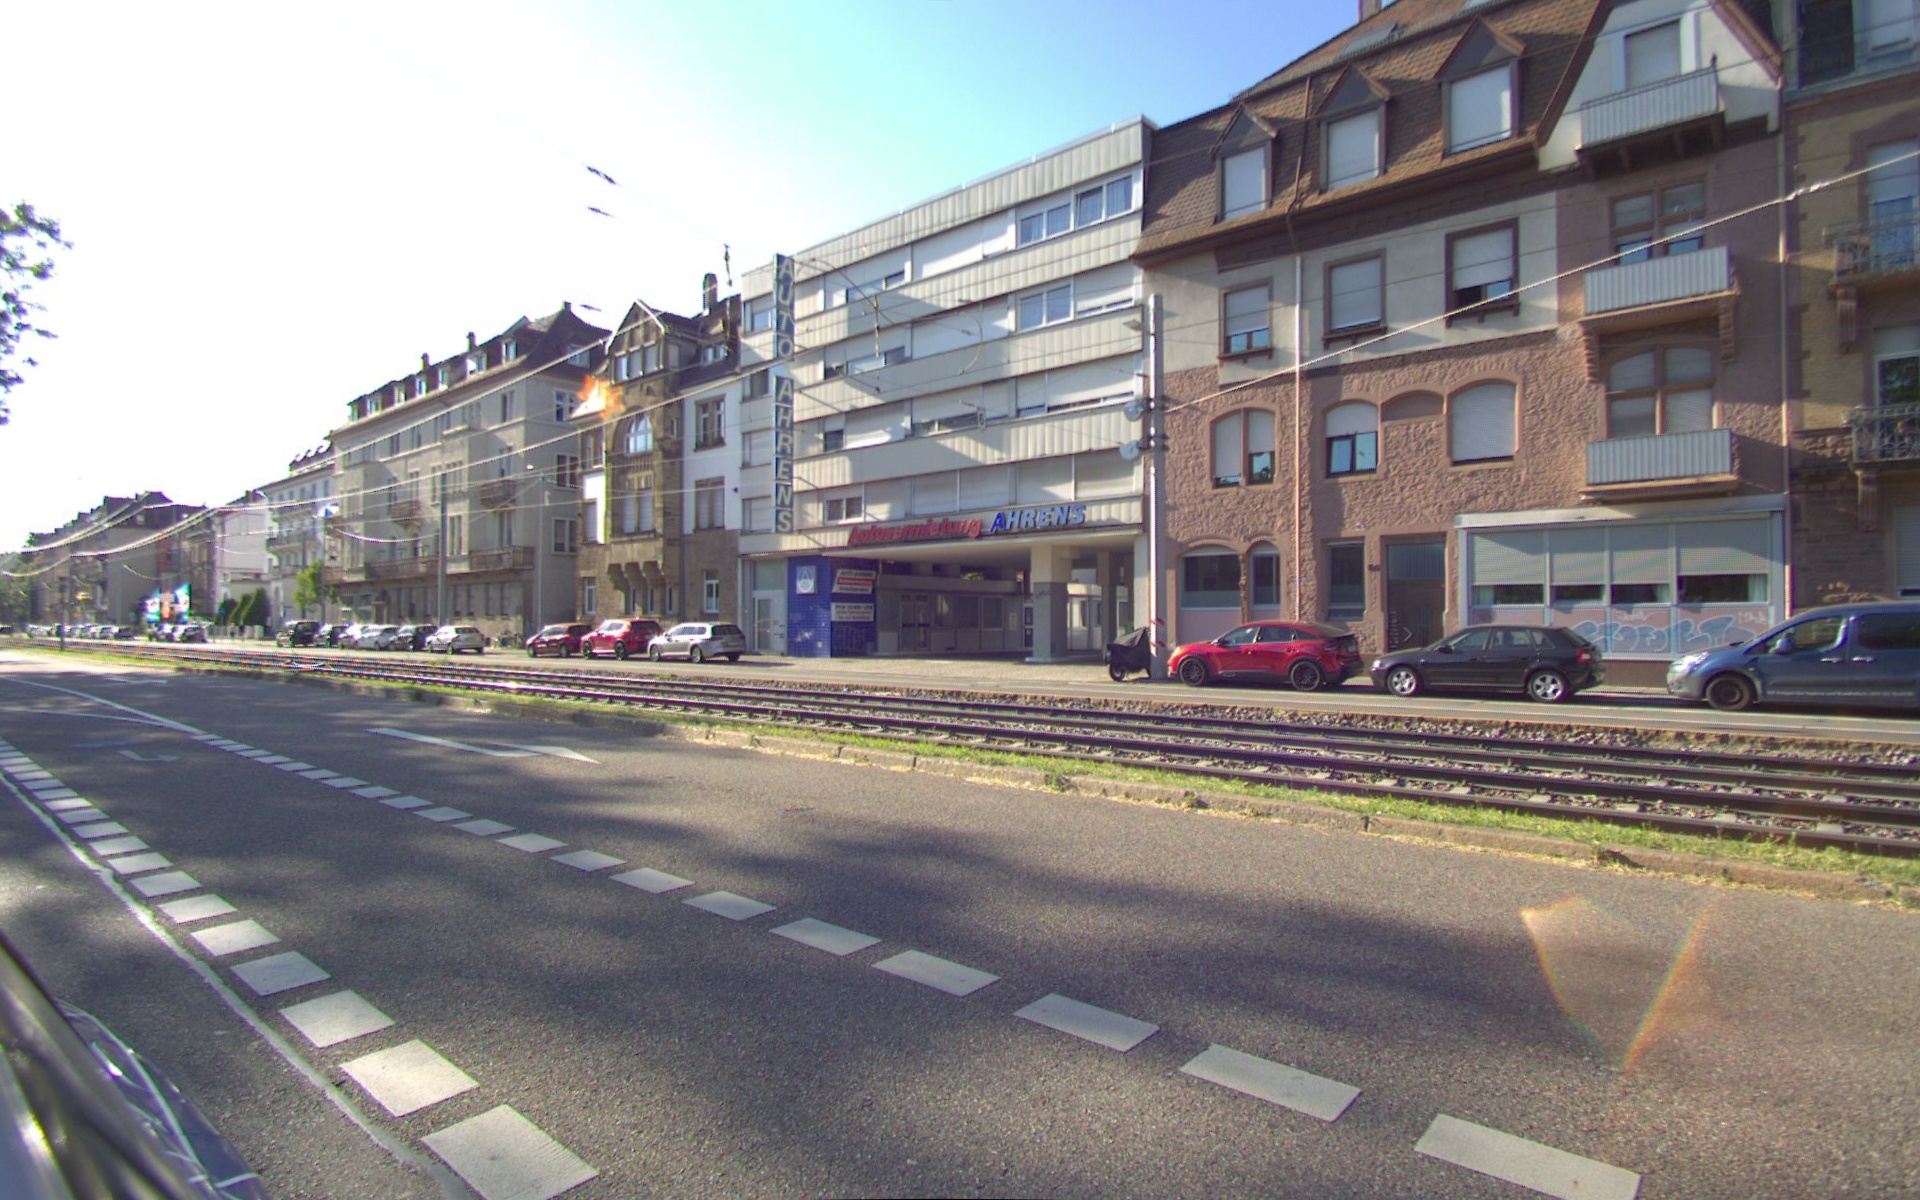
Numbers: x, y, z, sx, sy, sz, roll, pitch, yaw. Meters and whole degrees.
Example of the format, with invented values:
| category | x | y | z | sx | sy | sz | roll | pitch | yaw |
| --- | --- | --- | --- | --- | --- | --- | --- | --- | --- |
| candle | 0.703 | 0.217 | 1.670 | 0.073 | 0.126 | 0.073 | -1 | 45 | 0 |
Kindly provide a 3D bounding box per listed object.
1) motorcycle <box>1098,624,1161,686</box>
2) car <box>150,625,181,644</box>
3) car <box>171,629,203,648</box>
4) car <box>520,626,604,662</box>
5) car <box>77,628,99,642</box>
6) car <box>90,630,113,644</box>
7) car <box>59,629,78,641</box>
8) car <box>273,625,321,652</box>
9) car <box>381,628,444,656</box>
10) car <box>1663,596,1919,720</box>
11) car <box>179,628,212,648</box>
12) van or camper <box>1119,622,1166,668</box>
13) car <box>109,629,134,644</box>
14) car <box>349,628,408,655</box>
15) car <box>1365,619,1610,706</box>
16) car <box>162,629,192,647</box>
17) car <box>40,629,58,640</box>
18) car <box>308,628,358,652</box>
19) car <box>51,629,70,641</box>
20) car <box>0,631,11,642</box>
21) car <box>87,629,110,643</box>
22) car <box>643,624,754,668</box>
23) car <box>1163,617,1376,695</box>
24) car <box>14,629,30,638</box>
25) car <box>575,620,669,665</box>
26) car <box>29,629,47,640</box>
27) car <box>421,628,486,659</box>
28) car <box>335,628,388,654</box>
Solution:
| category | x | y | z | sx | sy | sz | roll | pitch | yaw |
| --- | --- | --- | --- | --- | --- | --- | --- | --- | --- |
| motorcycle | 4.291 | 1.361 | 25.532 | 0.628 | 1.433 | 1.836 | -3 | -1 | 41 |
| car | -77.332 | 3.371 | 98.499 | 3.879 | 1.800 | 1.705 | -1 | -1 | 42 |
| car | -69.683 | 3.448 | 91.243 | 3.387 | 1.583 | 1.662 | -1 | -1 | 42 |
| car | -17.762 | 1.951 | 45.097 | 3.722 | 1.507 | 1.736 | -2 | 0 | 36 |
| car | -108.429 | 4.358 | 125.851 | 3.449 | 1.602 | 1.603 | -1 | -1 | 42 |
| car | -99.885 | 4.269 | 117.713 | 3.449 | 1.602 | 1.603 | -1 | -1 | 42 |
| car | -121.739 | 4.778 | 138.184 | 3.449 | 1.602 | 1.603 | -1 | -1 | 42 |
| car | -45.860 | 2.664 | 70.018 | 3.914 | 1.750 | 1.851 | -2 | -1 | 42 |
| car | -30.606 | 2.338 | 56.531 | 3.820 | 1.441 | 1.779 | -2 | -1 | 40 |
| car | 14.115 | 0.876 | 16.223 | 4.418 | 1.772 | 1.865 | -2 | 1 | 44 |
| car | -66.018 | 3.268 | 87.413 | 3.407 | 1.644 | 1.655 | -2 | -1 | 42 |
| van or camper | 5.561 | 1.365 | 30.759 | 0.803 | 1.368 | 1.409 | -2 | -2 | 41 |
| car | -92.727 | 4.057 | 111.890 | 3.449 | 1.602 | 1.603 | -1 | -1 | 42 |
| car | -33.936 | 2.403 | 59.057 | 3.531 | 1.457 | 1.624 | -2 | -1 | 34 |
| car | 10.195 | 1.149 | 19.700 | 3.925 | 1.448 | 1.678 | -2 | 1 | 41 |
| car | -73.125 | 3.523 | 94.505 | 3.387 | 1.583 | 1.662 | -1 | -1 | 42 |
| car | -131.482 | 4.974 | 146.067 | 3.449 | 1.602 | 1.603 | -1 | -1 | 42 |
| car | -41.466 | 2.646 | 66.918 | 3.822 | 1.490 | 1.778 | -2 | -1 | 42 |
| car | -125.642 | 4.829 | 141.403 | 3.449 | 1.602 | 1.603 | -1 | -1 | 42 |
| car | -140.799 | 5.369 | 148.522 | 3.999 | 1.697 | 1.798 | -2 | -2 | 42 |
| car | -103.583 | 4.290 | 121.657 | 3.449 | 1.602 | 1.603 | -1 | -1 | 42 |
| car | -9.893 | 1.692 | 38.126 | 4.379 | 1.510 | 1.837 | -2 | 0 | 41 |
| car | 6.949 | 1.219 | 22.948 | 4.208 | 1.510 | 1.837 | -2 | 1 | 41 |
| car | -158.835 | 5.673 | 171.373 | 3.449 | 1.602 | 1.603 | -1 | -1 | 42 |
| car | -13.935 | 1.706 | 41.638 | 4.262 | 1.700 | 1.836 | -2 | -1 | 42 |
| car | -139.336 | 5.153 | 152.960 | 3.449 | 1.602 | 1.603 | -1 | -1 | 42 |
| car | -26.551 | 2.253 | 53.033 | 3.822 | 1.490 | 1.778 | -2 | -1 | 42 |
| car | -37.163 | 2.514 | 62.810 | 3.822 | 1.490 | 1.778 | -2 | -1 | 42 |
